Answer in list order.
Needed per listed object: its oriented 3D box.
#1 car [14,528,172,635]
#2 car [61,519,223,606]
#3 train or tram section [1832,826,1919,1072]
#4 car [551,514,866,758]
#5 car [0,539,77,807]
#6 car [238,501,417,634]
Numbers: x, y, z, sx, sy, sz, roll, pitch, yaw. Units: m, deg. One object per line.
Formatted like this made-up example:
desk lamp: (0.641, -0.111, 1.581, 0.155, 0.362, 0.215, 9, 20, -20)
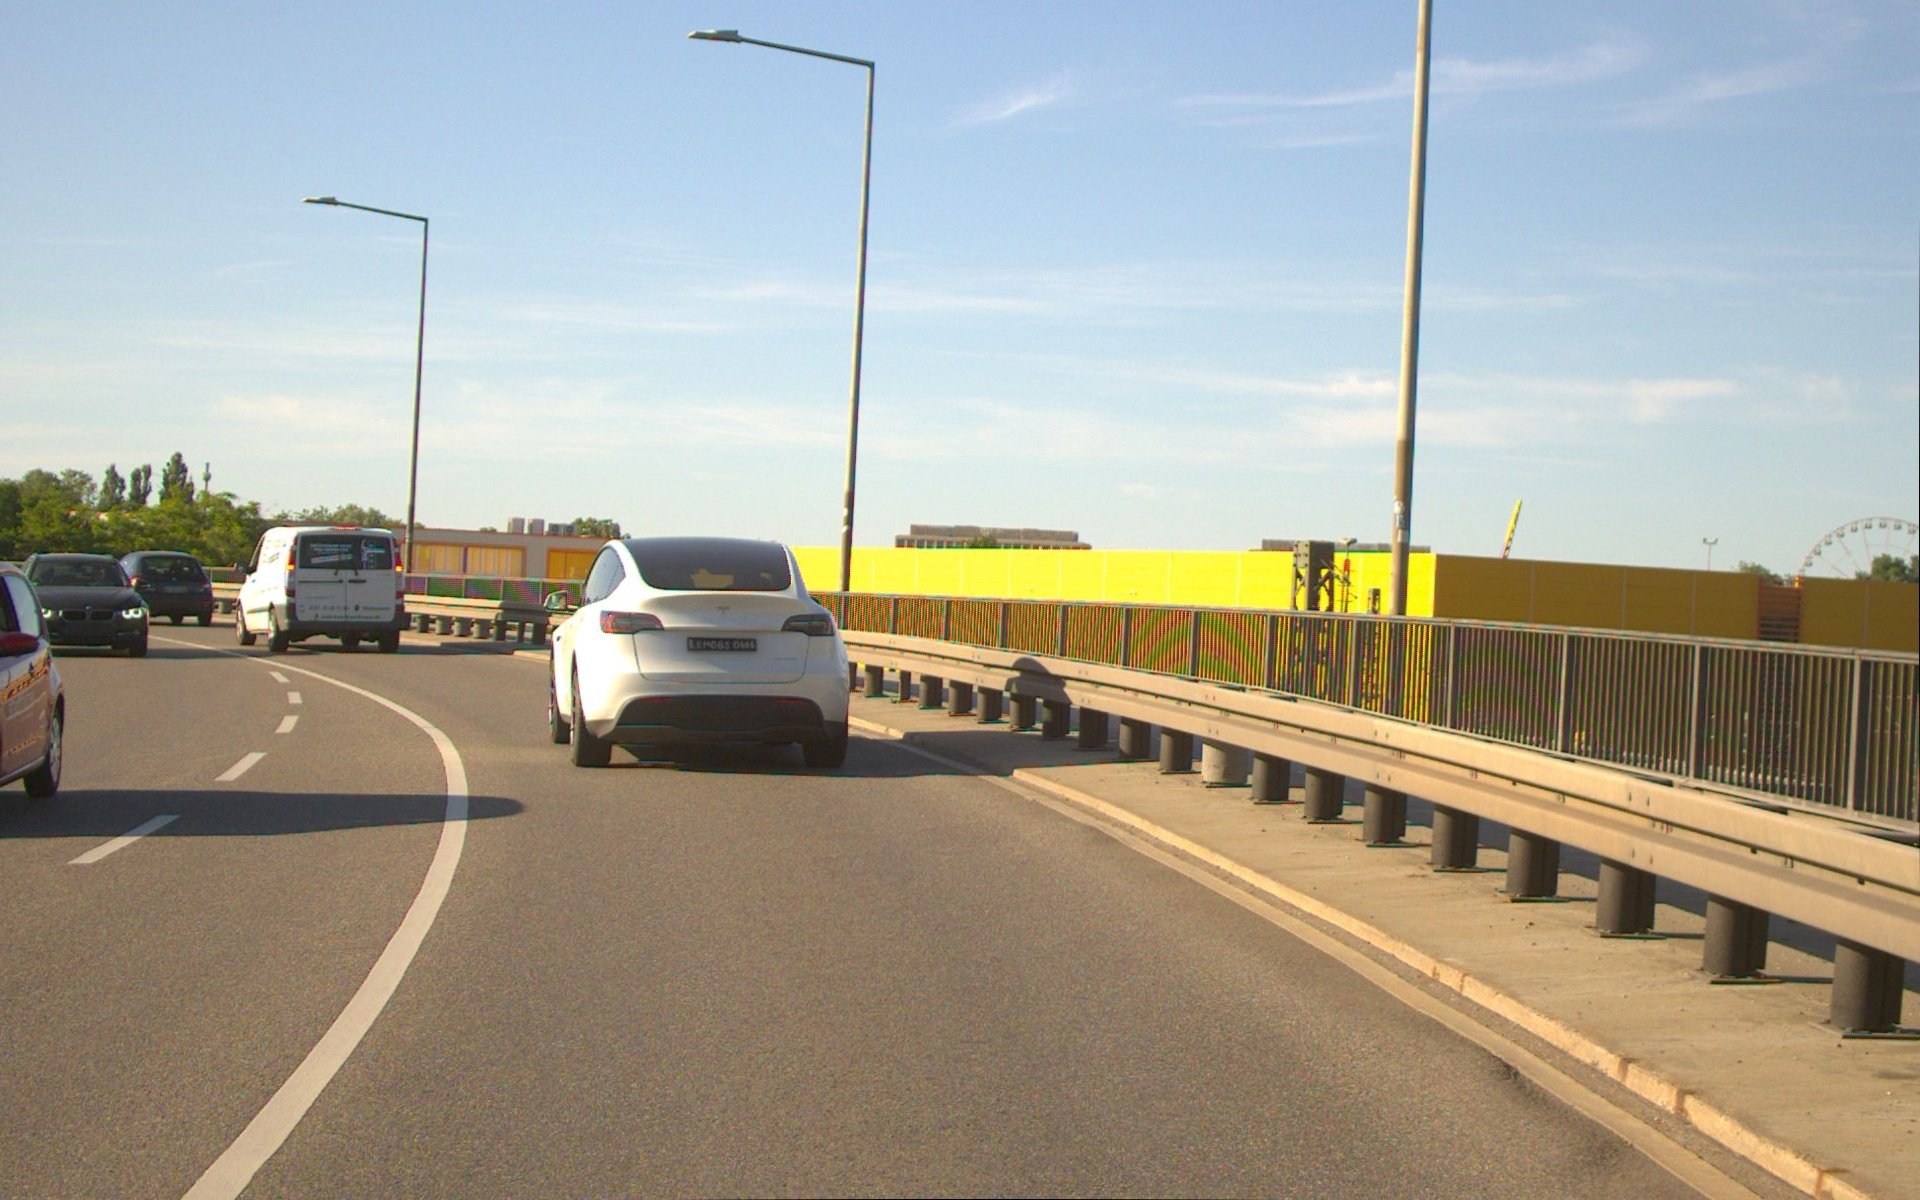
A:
car: (-12.558, -0.296, 49.644, 1.873, 1.434, 4.323, 1, 1, -18)
car: (-16.022, -0.747, 67.242, 1.968, 1.632, 4.000, -1, 1, -31)
train or tram section: (28.533, 8.018, 82.287, 16.824, 5.243, 3.337, 0, 1, -28)
car: (-1.925, 0.202, 25.179, 1.985, 1.632, 4.064, 0, 1, -9)
car: (-6.195, 0.369, 19.572, 1.781, 1.432, 3.876, 1, 1, -7)
car: (-9.740, -0.521, 52.704, 2.004, 1.934, 4.469, 1, 1, -19)
